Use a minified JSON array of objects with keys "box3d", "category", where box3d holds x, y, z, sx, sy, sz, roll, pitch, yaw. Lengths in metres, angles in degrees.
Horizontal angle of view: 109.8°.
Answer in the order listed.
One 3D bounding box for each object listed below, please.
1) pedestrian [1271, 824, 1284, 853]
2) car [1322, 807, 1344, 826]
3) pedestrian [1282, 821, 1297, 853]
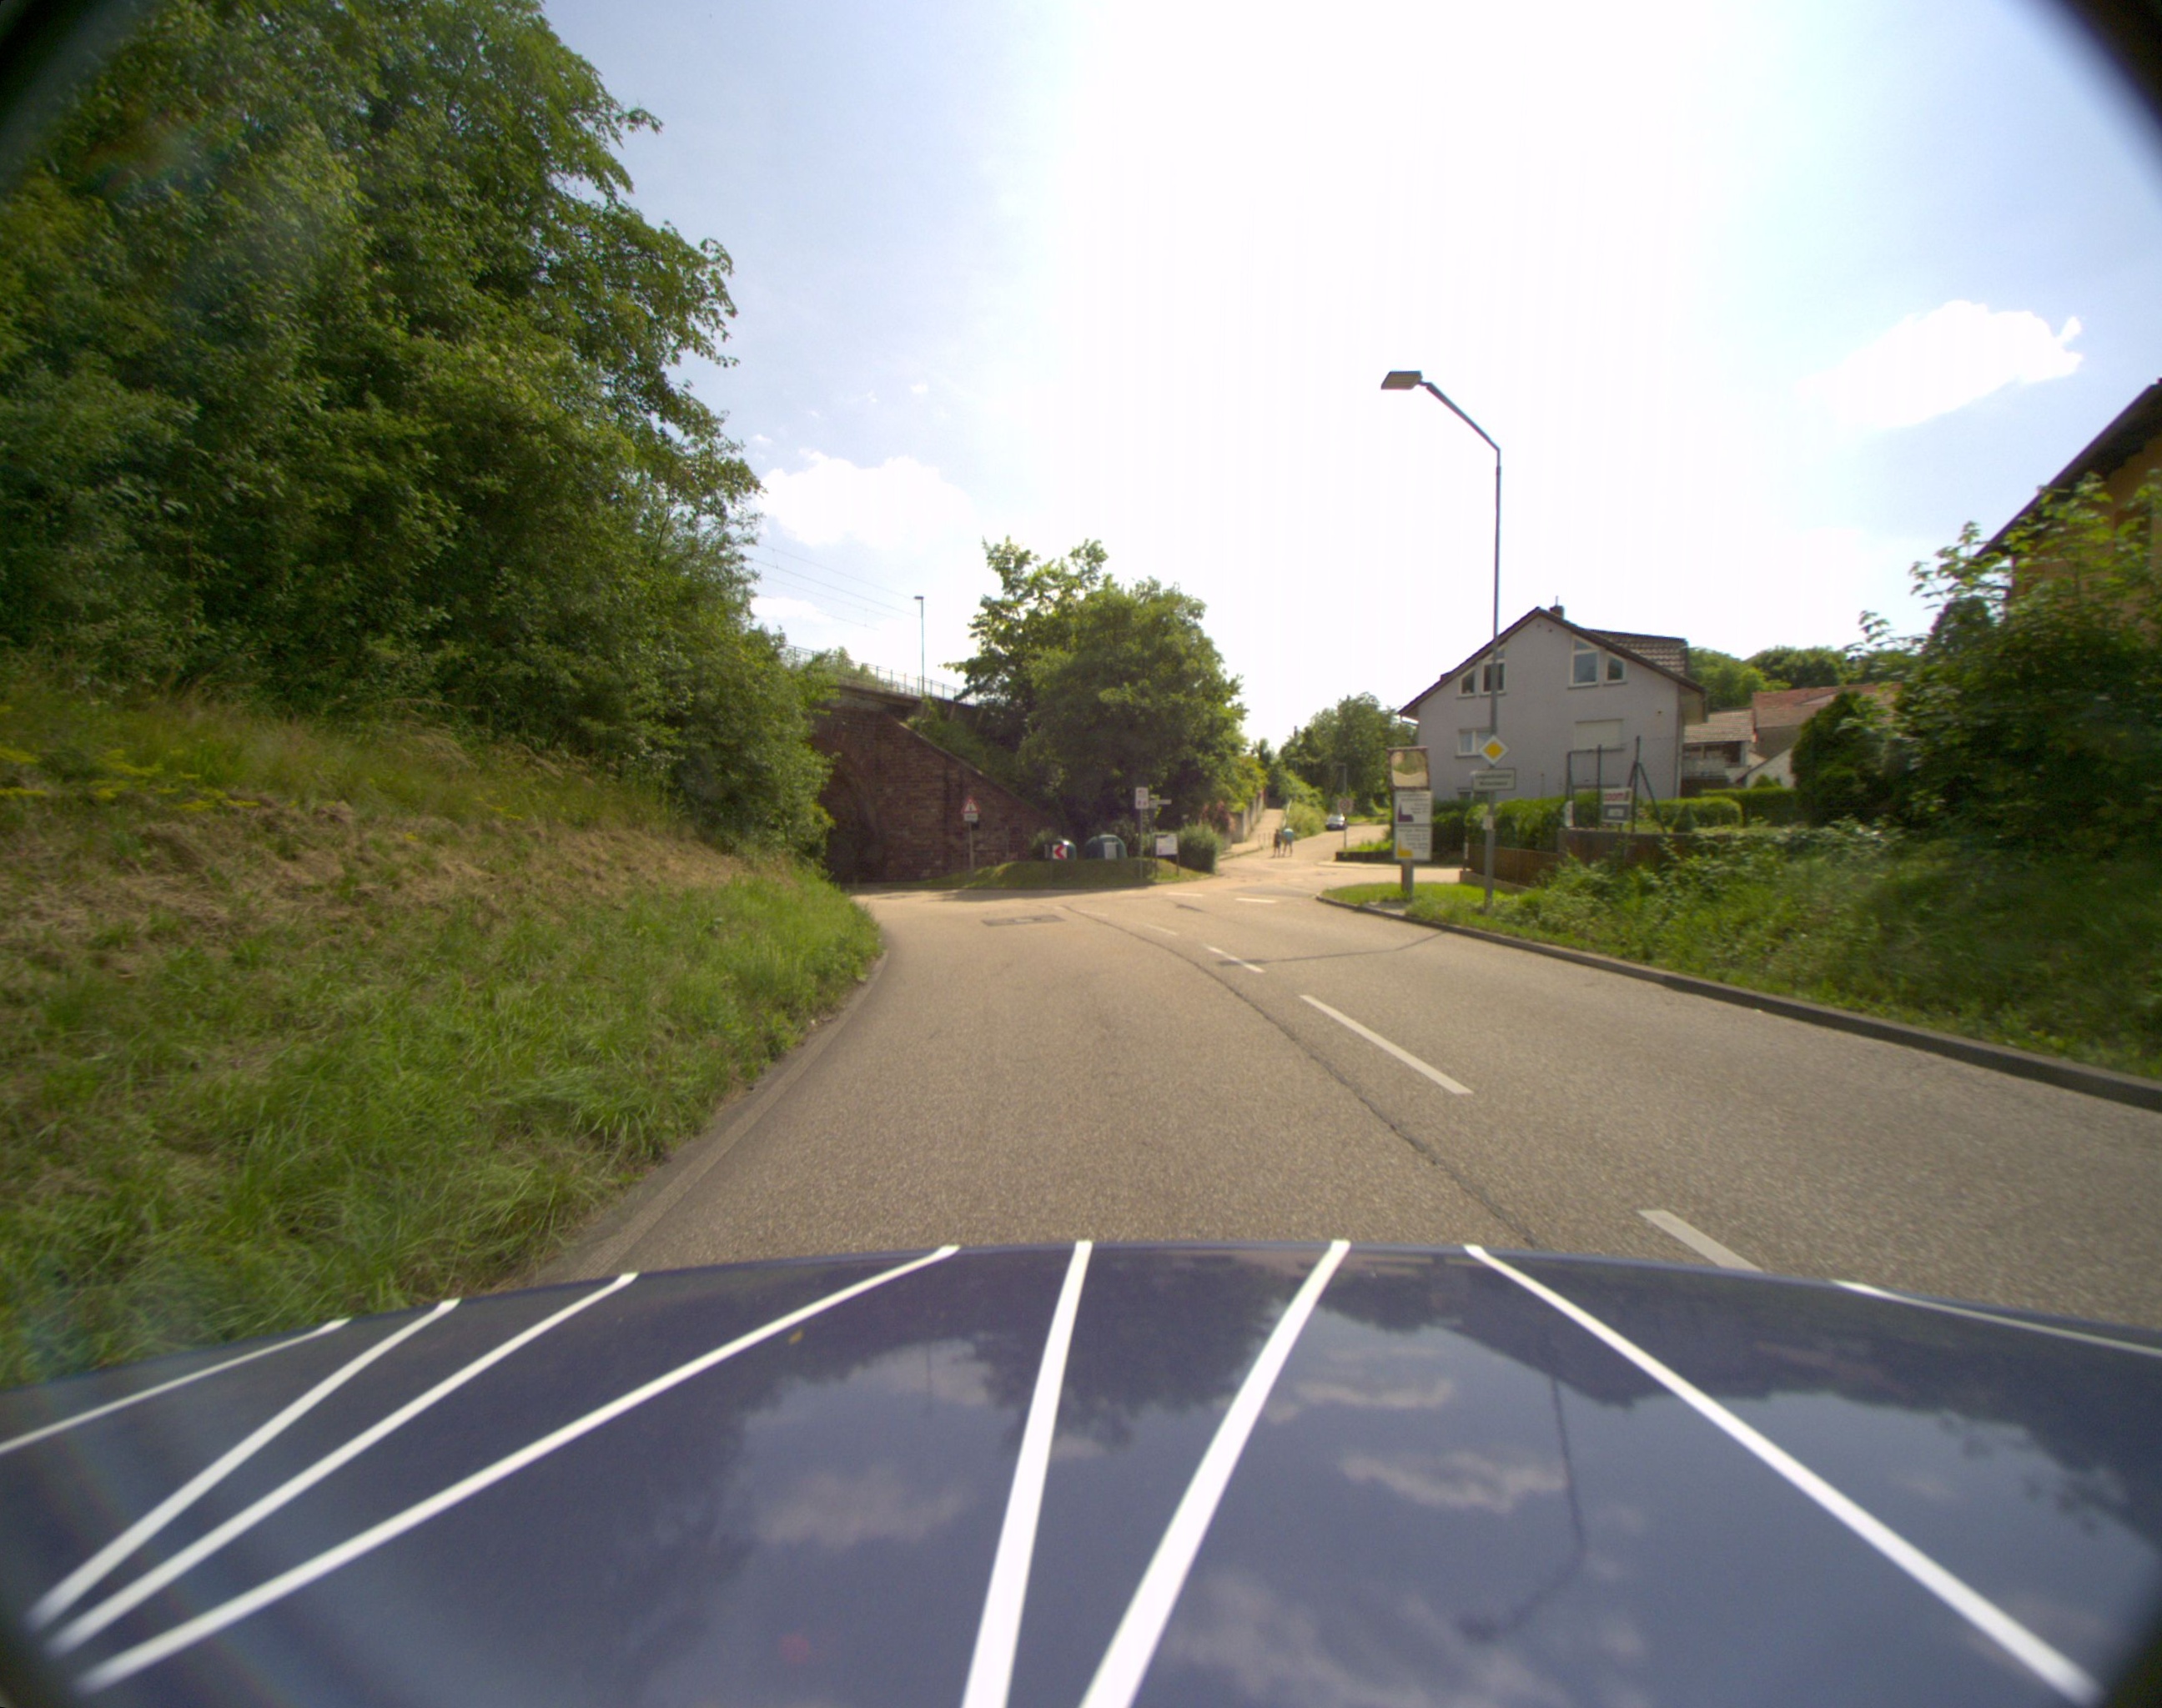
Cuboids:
[{"box3d":[10.942,-0.861,42.254,0.573,1.546,0.599,-3,3,18],"category":"pedestrian"},{"box3d":[23.883,-3.541,71.998,1.852,1.633,4.397,-3,1,19],"category":"car"},{"box3d":[11.656,-0.968,42.483,0.686,1.703,0.790,-3,2,18],"category":"pedestrian"}]
